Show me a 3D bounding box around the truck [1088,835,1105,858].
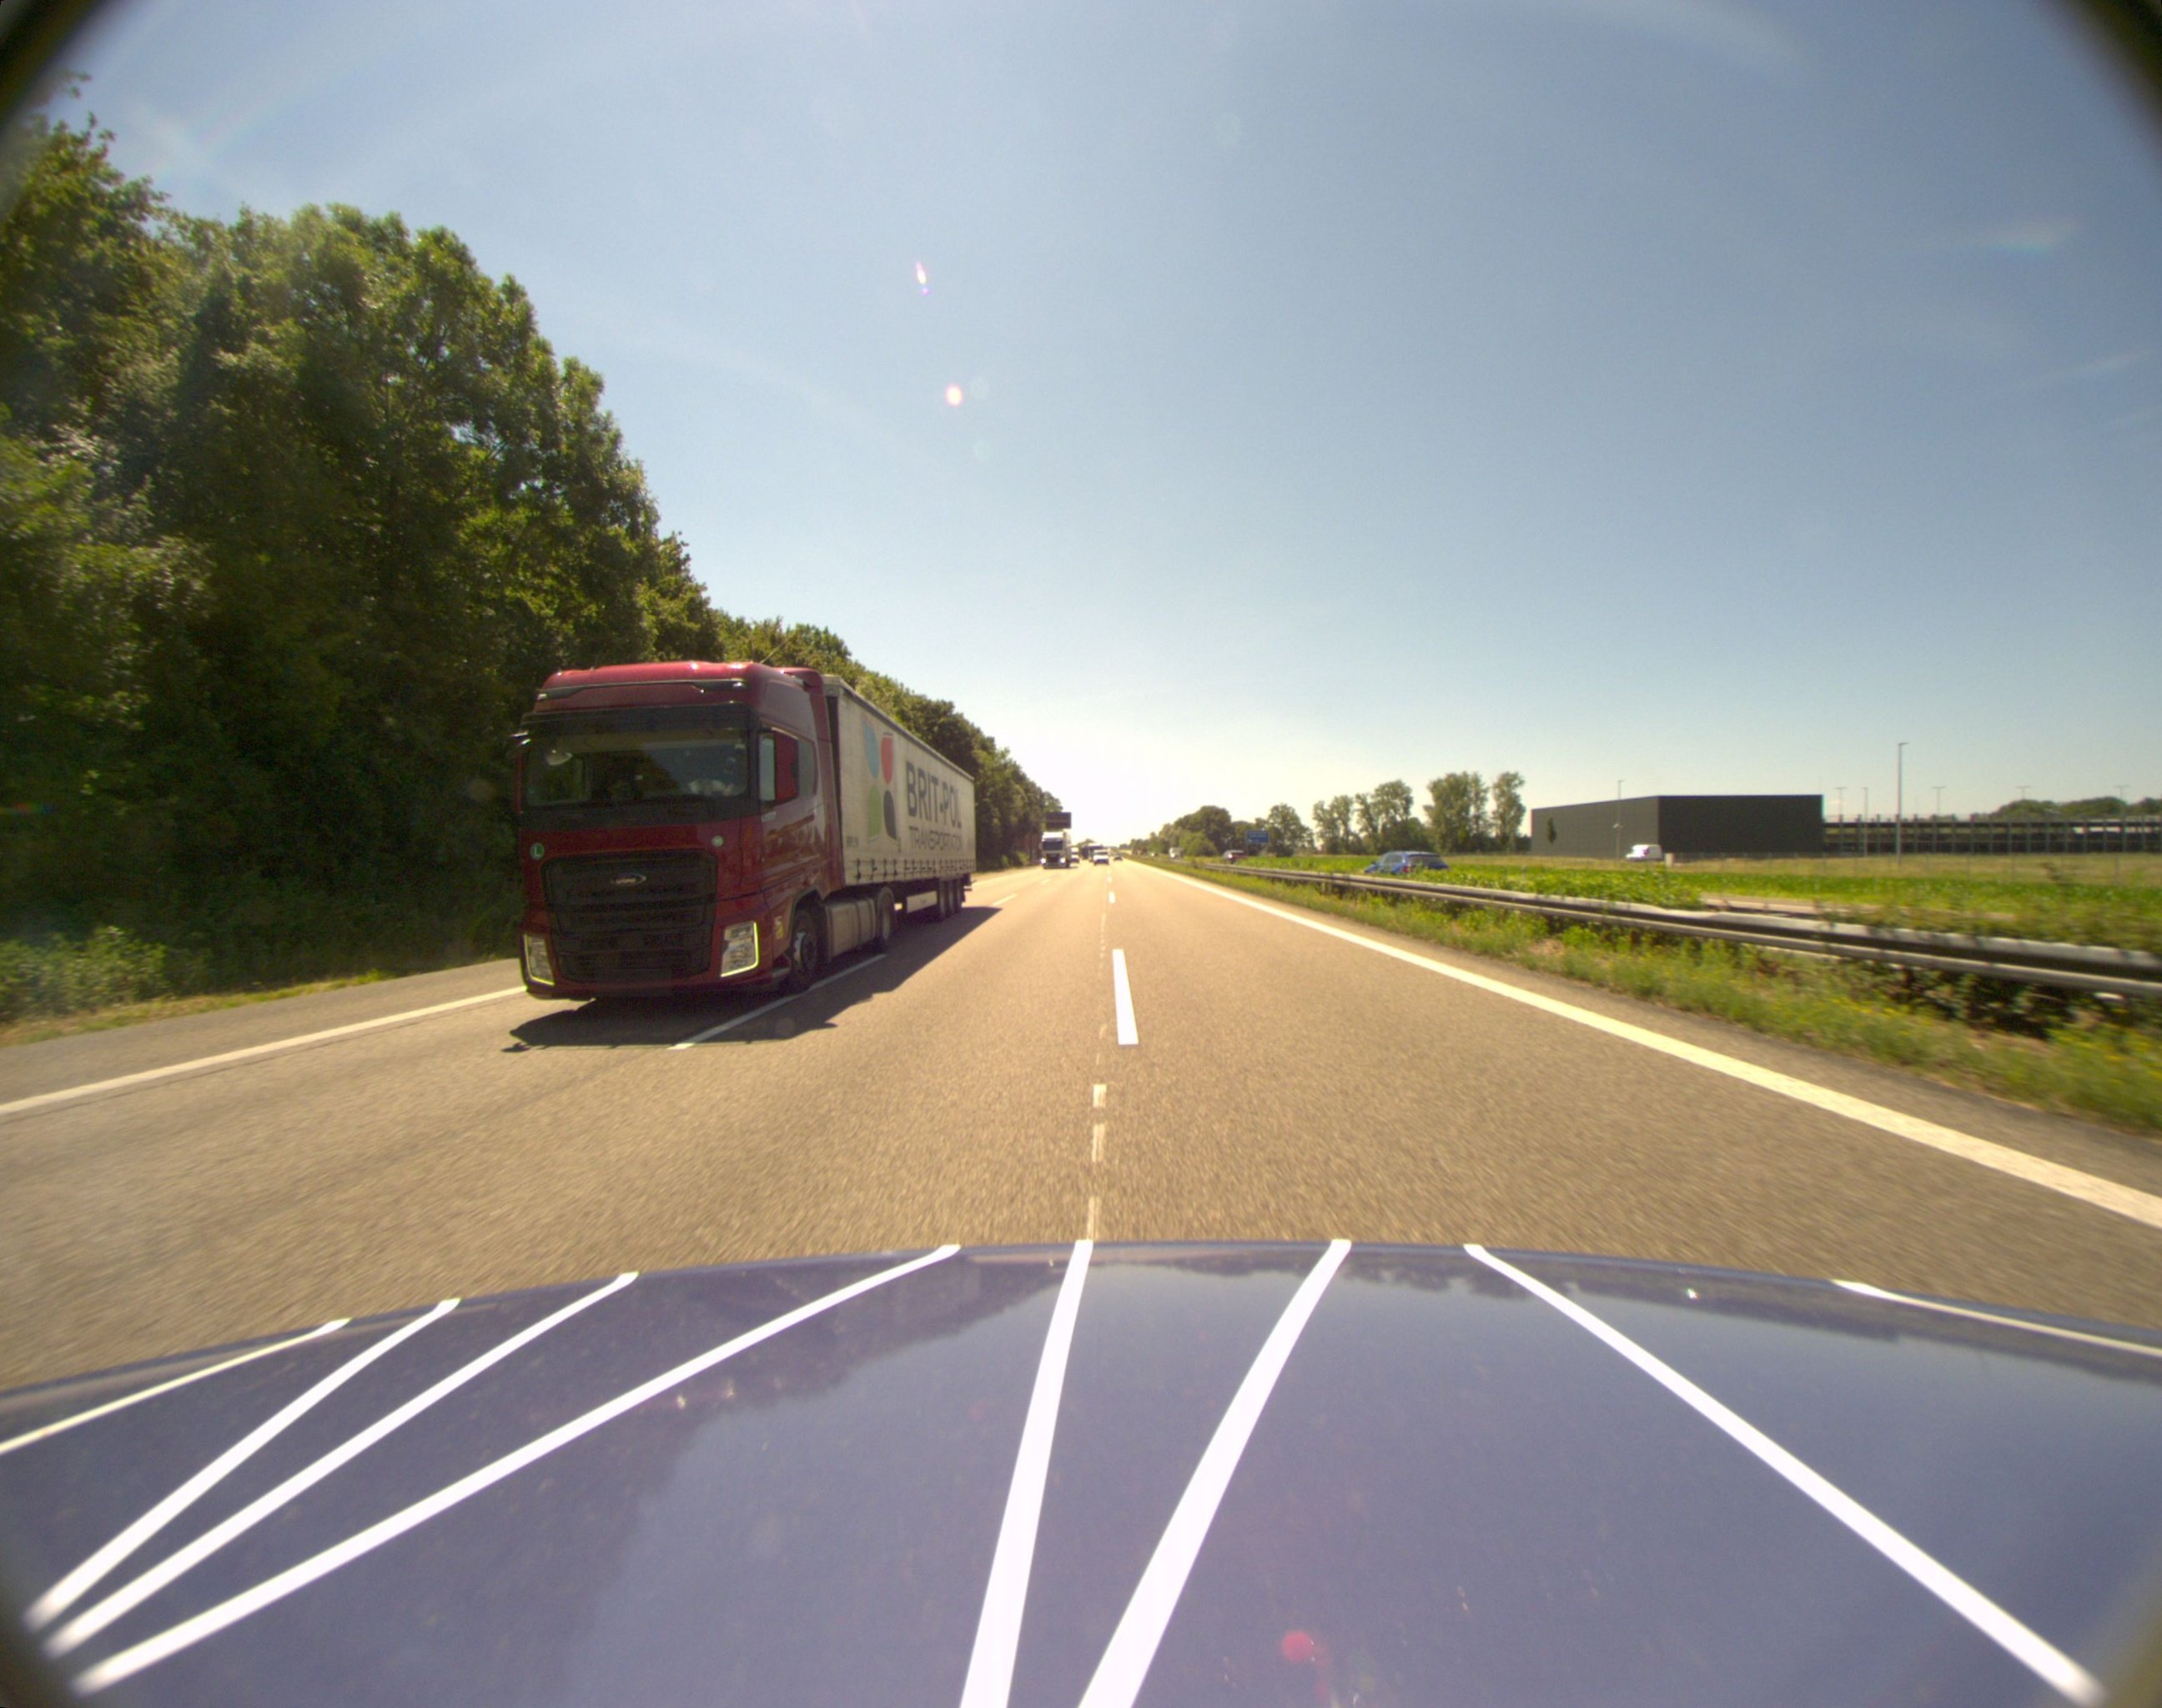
[{"bbox_3d":[2.874,-1.375,139.568,2.896,4.007,6.869,-2,1,2],"label":"truck"}]

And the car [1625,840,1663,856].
[{"bbox_3d":[77.143,-0.833,104.037,5.618,2.165,2.104,0,1,-30],"label":"car"}]

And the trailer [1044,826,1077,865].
[{"bbox_3d":[-2.283,-0.992,90.549,3.001,4.264,13.418,-2,1,2],"label":"trailer"}]

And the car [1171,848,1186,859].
[{"bbox_3d":[16.396,-0.080,128.253,2.050,1.796,5.418,0,0,2],"label":"car"}]

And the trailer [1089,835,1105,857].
[{"bbox_3d":[3.040,-1.483,144.084,2.927,4.018,7.317,-2,1,2],"label":"trailer"}]

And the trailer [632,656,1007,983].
[{"bbox_3d":[-4.386,-0.545,18.082,3.113,4.481,14.896,-2,1,2],"label":"trailer"}]

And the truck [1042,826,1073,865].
[{"bbox_3d":[-2.530,-0.909,83.755,3.010,4.101,5.252,-1,1,2],"label":"truck"}]

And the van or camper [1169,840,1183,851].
[{"bbox_3d":[21.560,-1.938,172.433,2.427,2.519,6.175,1,1,1],"label":"van or camper"}]

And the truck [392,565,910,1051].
[{"bbox_3d":[-4.683,-0.443,10.099,3.094,4.415,6.052,-2,1,2],"label":"truck"}]

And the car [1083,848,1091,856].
[{"bbox_3d":[1.586,-0.574,197.625,1.998,2.002,4.868,0,0,2],"label":"car"}]

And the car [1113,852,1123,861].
[{"bbox_3d":[7.200,0.540,148.402,1.796,1.696,4.000,0,1,2],"label":"car"}]

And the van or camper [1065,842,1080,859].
[{"bbox_3d":[-1.413,-0.592,128.236,2.027,2.622,6.487,-2,1,2],"label":"van or camper"}]

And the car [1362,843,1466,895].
[{"bbox_3d":[12.151,0.500,28.072,1.916,1.778,4.481,0,0,1],"label":"car"}]

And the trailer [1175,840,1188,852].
[{"bbox_3d":[28.217,-2.228,213.355,2.682,3.219,9.258,-1,1,2],"label":"trailer"}]

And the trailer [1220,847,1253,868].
[{"bbox_3d":[13.725,0.251,67.423,1.949,1.779,5.237,0,0,1],"label":"trailer"}]

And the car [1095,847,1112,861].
[{"bbox_3d":[2.999,-0.042,99.709,2.146,1.810,5.267,-1,1,2],"label":"car"}]
